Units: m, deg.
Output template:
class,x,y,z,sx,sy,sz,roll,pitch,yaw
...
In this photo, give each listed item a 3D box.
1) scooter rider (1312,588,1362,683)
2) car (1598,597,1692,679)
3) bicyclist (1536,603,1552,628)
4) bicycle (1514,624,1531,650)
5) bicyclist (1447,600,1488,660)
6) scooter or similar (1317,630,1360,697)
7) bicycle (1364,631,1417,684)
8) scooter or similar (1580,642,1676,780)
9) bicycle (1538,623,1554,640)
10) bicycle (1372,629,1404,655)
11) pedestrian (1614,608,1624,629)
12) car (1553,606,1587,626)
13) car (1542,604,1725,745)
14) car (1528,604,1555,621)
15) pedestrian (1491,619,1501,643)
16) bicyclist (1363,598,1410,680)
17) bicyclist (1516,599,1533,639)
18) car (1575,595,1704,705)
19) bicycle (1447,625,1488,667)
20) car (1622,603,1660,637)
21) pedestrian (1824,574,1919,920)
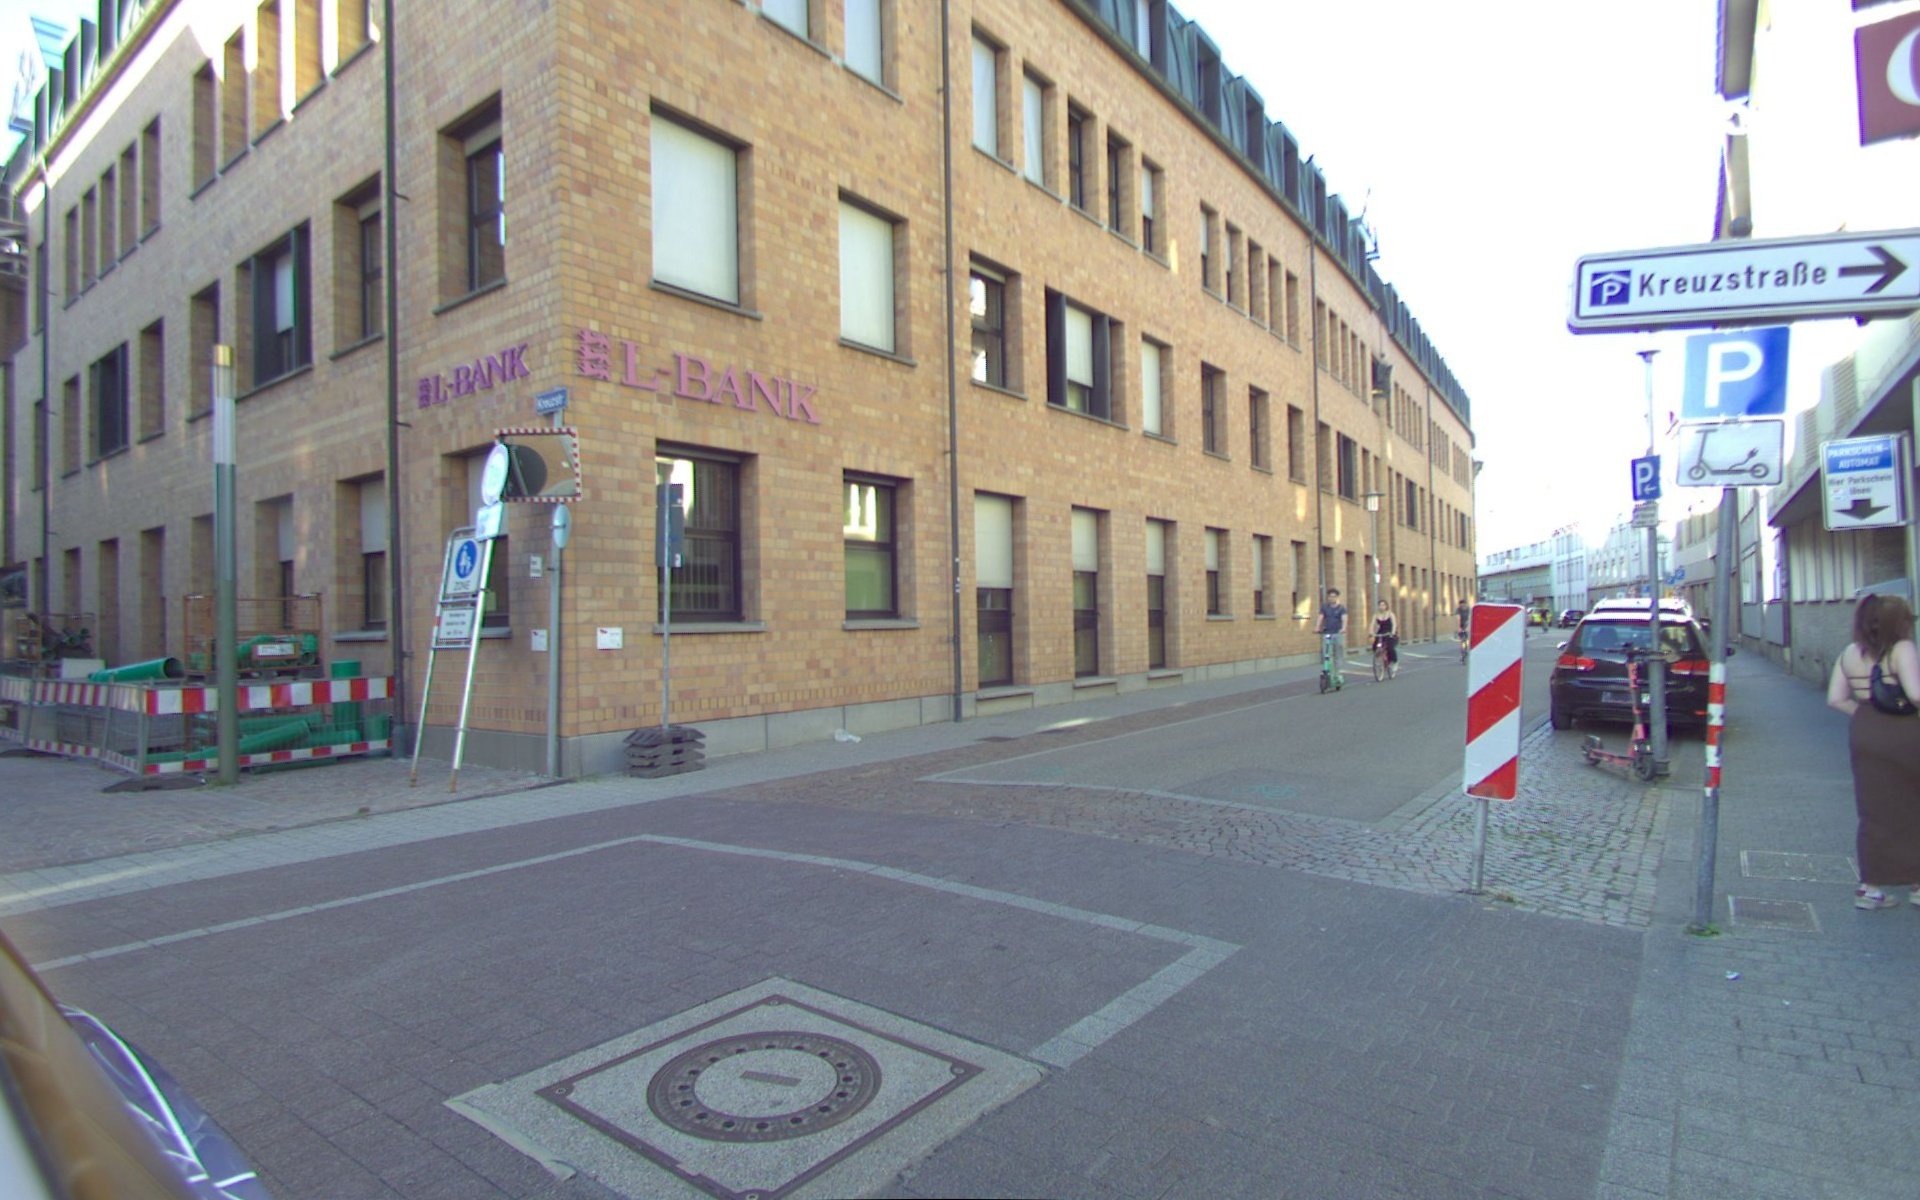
class,x,y,z,sx,sy,sz,roll,pitch,yaw
scooter rider,7.046,0.662,18.889,0.648,1.739,0.693,-3,-3,39
car,15.899,0.817,23.424,1.671,1.717,3.963,0,0,36
bicyclist,40.507,1.065,70.160,0.769,1.668,0.948,-5,-4,26
bicycle,21.773,1.430,39.151,0.435,0.964,1.573,-2,-2,33
bicyclist,13.688,0.805,27.291,0.649,1.570,1.095,-6,-4,39
scooter or similar,7.065,1.165,18.867,0.336,1.195,1.263,-5,-4,37
bicycle,9.219,1.215,21.650,0.590,1.060,1.778,-5,-3,36
scooter or similar,6.150,0.994,9.344,0.205,1.193,0.883,-1,-2,-4
bicycle,40.514,2.192,69.977,0.701,1.112,1.811,-5,-4,26
bicycle,15.420,1.495,36.430,0.641,0.888,2.528,-1,-1,33
pedestrian,47.346,1.330,72.703,0.569,1.490,0.469,-2,-2,29
car,53.330,1.381,88.577,1.923,1.663,3.808,-2,-1,22
car,8.736,0.823,13.069,1.738,1.497,3.765,0,0,36
car,59.532,1.287,103.660,1.923,1.663,3.808,-1,-1,22
pedestrian,35.056,2.015,66.212,0.542,1.556,0.400,-1,-1,35
bicyclist,9.059,0.816,21.492,0.619,1.679,0.813,-6,-4,37
bicyclist,21.906,0.746,39.274,0.427,1.509,0.865,-4,-3,34
car,11.802,0.779,17.500,1.671,1.674,4.031,0,0,36
bicycle,13.724,1.227,27.333,0.573,1.059,1.812,-5,-3,39
car,37.595,1.103,55.867,1.689,1.789,3.613,0,0,34
pedestrian,4.594,0.681,4.886,0.511,1.592,0.526,-6,-5,42
